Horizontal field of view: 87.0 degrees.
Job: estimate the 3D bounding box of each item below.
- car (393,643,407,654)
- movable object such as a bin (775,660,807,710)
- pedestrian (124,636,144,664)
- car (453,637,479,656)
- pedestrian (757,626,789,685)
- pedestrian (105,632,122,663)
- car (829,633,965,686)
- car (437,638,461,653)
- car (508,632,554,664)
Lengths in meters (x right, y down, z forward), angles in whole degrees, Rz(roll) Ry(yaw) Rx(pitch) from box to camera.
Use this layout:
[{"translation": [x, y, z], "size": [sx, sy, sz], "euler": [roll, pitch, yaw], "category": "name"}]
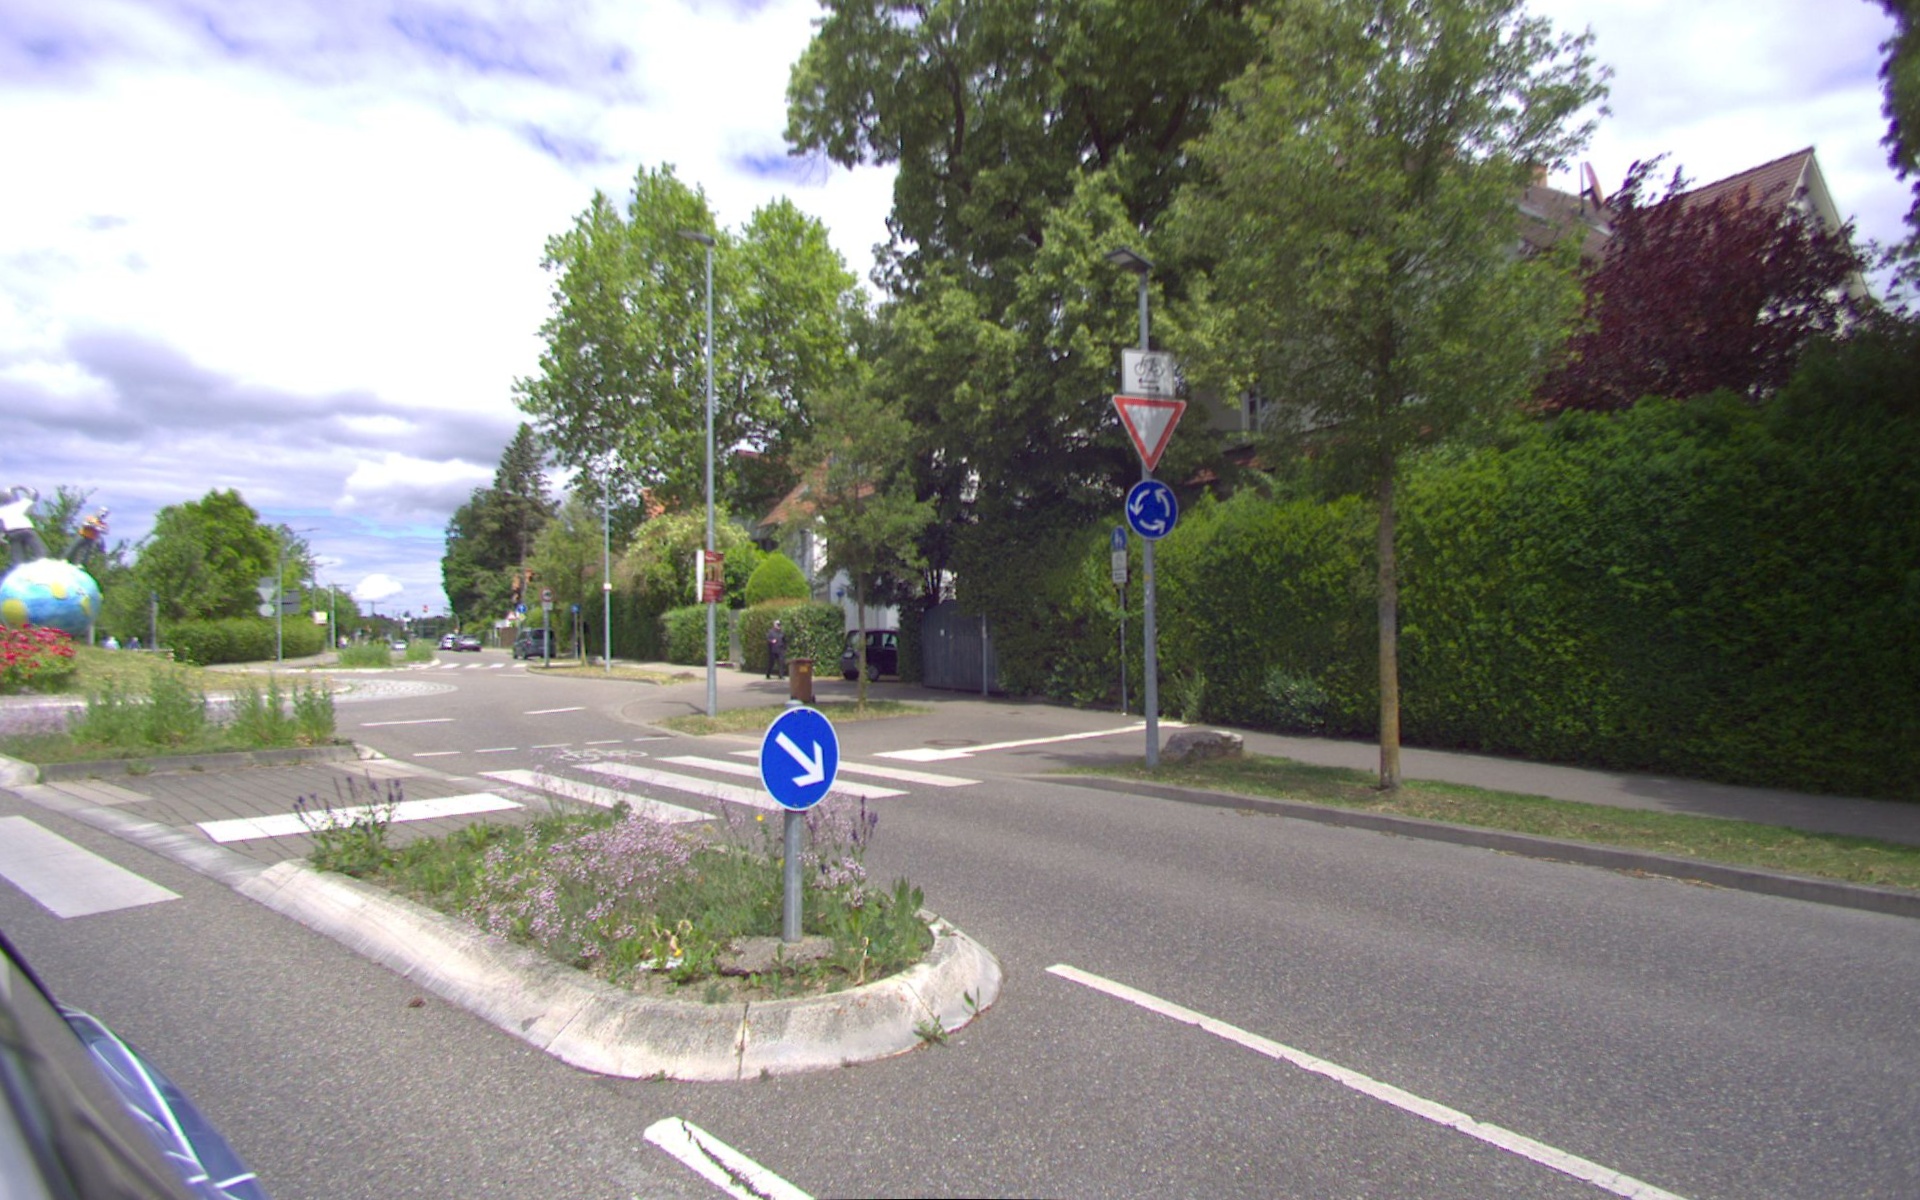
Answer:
[{"translation": [-88.221, 7.645, 159.475], "size": [1.965, 1.719, 4.012], "euler": [2, -3, -29], "category": "car"}, {"translation": [-3.315, 1.656, 19.862], "size": [0.411, 0.942, 0.436], "euler": [-1, -3, 32], "category": "movable object such as a bin"}, {"translation": [-46.608, 2.801, 57.133], "size": [0.601, 1.569, 0.754], "euler": [-2, -3, 41], "category": "pedestrian"}, {"translation": [-43.890, 4.118, 89.932], "size": [1.832, 1.589, 4.012], "euler": [0, -1, -29], "category": "car"}, {"translation": [-5.503, 1.617, 29.767], "size": [0.733, 1.704, 0.697], "euler": [0, -1, -28], "category": "pedestrian"}, {"translation": [-47.103, 2.614, 56.300], "size": [0.567, 1.710, 0.599], "euler": [-2, -3, 42], "category": "pedestrian"}, {"translation": [-1.828, 1.740, 29.444], "size": [3.517, 1.408, 1.670], "euler": [4, -3, -29], "category": "car"}, {"translation": [-59.151, 5.228, 117.137], "size": [1.966, 1.719, 4.010], "euler": [2, -3, -34], "category": "car"}, {"translation": [-23.875, 2.638, 56.242], "size": [1.653, 1.674, 4.011], "euler": [1, -2, -34], "category": "car"}]
